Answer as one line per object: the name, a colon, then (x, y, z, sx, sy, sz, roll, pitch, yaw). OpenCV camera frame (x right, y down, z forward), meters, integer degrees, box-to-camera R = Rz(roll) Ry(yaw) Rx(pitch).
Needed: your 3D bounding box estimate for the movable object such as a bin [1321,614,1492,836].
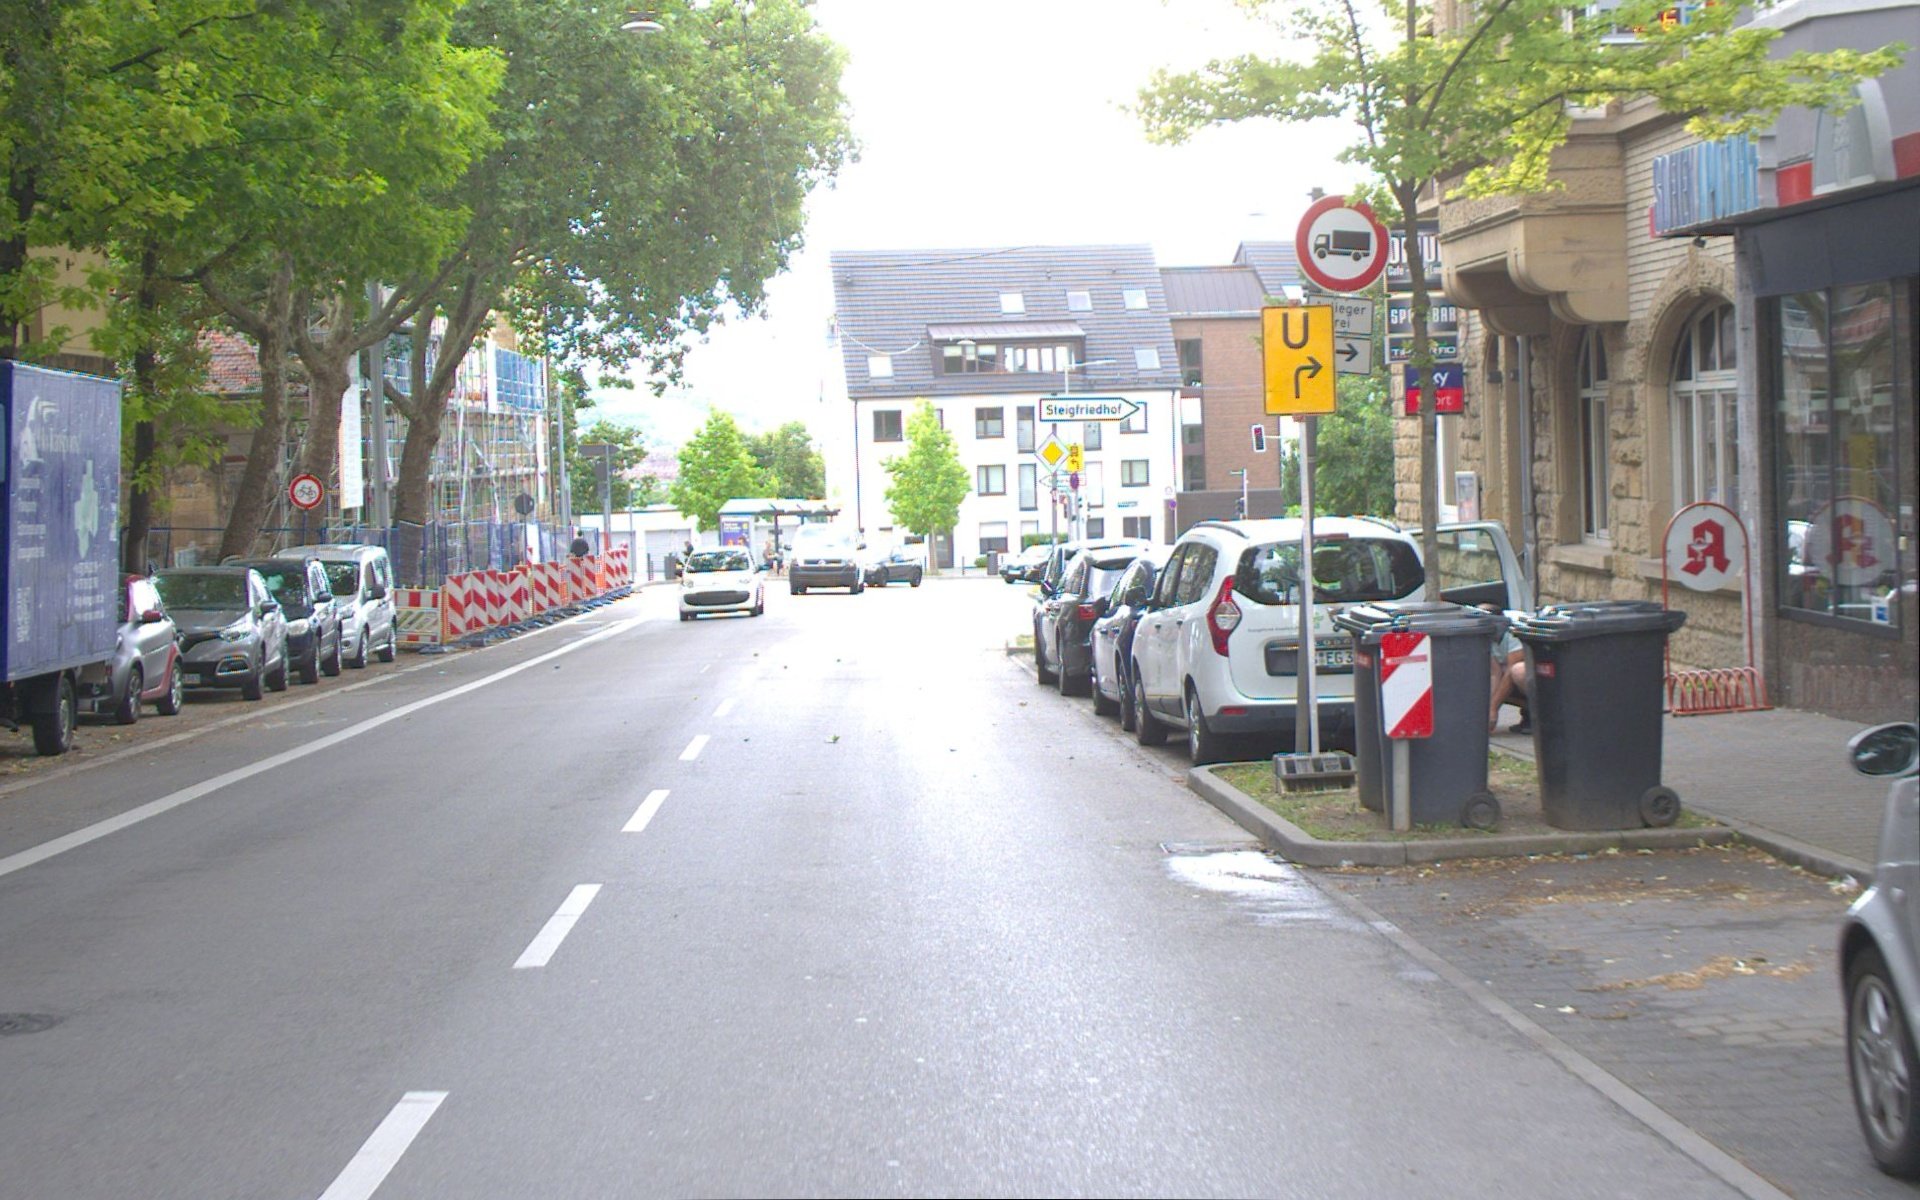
movable object such as a bin: (2.159, 0.595, 16.686, 0.622, 1.021, 0.697, -2, 1, -9)

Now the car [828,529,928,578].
car: (-2.641, -1.516, 111.375, 1.658, 1.459, 3.995, 0, 2, 24)

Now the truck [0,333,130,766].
truck: (-8.732, -0.416, 28.574, 2.215, 3.404, 7.248, 0, 1, -3)

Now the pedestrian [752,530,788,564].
pedestrian: (-6.647, -1.858, 120.258, 0.934, 1.188, 0.904, 0, 0, 27)

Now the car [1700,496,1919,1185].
car: (2.847, 0.506, 7.719, 1.481, 1.529, 3.522, -3, 1, -1)

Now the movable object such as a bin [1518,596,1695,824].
movable object such as a bin: (3.121, 0.522, 16.631, 0.694, 1.070, 0.624, 0, 1, -5)

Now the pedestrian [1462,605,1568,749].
pedestrian: (3.738, 0.513, 23.176, 0.625, 0.938, 0.693, 0, 1, 3)

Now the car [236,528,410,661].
car: (-9.657, -0.112, 52.445, 1.834, 1.870, 4.417, -2, 1, -1)

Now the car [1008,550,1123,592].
car: (3.719, -1.012, 121.329, 3.690, 1.421, 1.703, -1, 1, 22)

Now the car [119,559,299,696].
car: (-9.052, 0.314, 41.683, 1.594, 1.568, 4.088, 0, 0, -5)

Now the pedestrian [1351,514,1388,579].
pedestrian: (10.294, -1.353, 86.418, 0.579, 1.579, 0.575, -5, 2, -30)

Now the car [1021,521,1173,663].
car: (1.640, -0.119, 42.216, 1.565, 1.604, 3.654, -2, 1, -1)

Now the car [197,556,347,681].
car: (-9.327, 0.236, 46.847, 1.508, 1.626, 4.116, 0, 0, -4)

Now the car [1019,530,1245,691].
car: (1.711, 0.073, 35.763, 1.738, 1.458, 4.776, -3, 1, -4)

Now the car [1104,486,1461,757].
car: (2.187, 0.112, 24.533, 1.678, 1.657, 4.545, -3, 1, -5)

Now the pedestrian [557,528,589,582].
pedestrian: (-12.396, -1.450, 110.095, 0.923, 1.714, 0.798, 0, 0, 2)

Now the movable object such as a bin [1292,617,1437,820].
movable object such as a bin: (2.123, 0.616, 18.101, 0.622, 1.021, 0.697, -1, 1, -4)

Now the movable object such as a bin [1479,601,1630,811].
movable object such as a bin: (3.015, 0.528, 17.466, 0.577, 1.021, 0.624, -1, 1, -7)

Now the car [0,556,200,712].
car: (-9.111, 0.343, 36.173, 1.480, 1.568, 2.992, 0, 0, 2)

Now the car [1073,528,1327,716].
car: (1.979, 0.150, 29.409, 1.605, 1.392, 4.276, -4, 1, -3)

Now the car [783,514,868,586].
car: (-3.685, -1.385, 95.047, 2.205, 1.924, 5.240, 0, 1, -1)

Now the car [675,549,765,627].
car: (-4.934, -0.258, 70.990, 1.583, 1.459, 3.652, -4, 1, -1)
